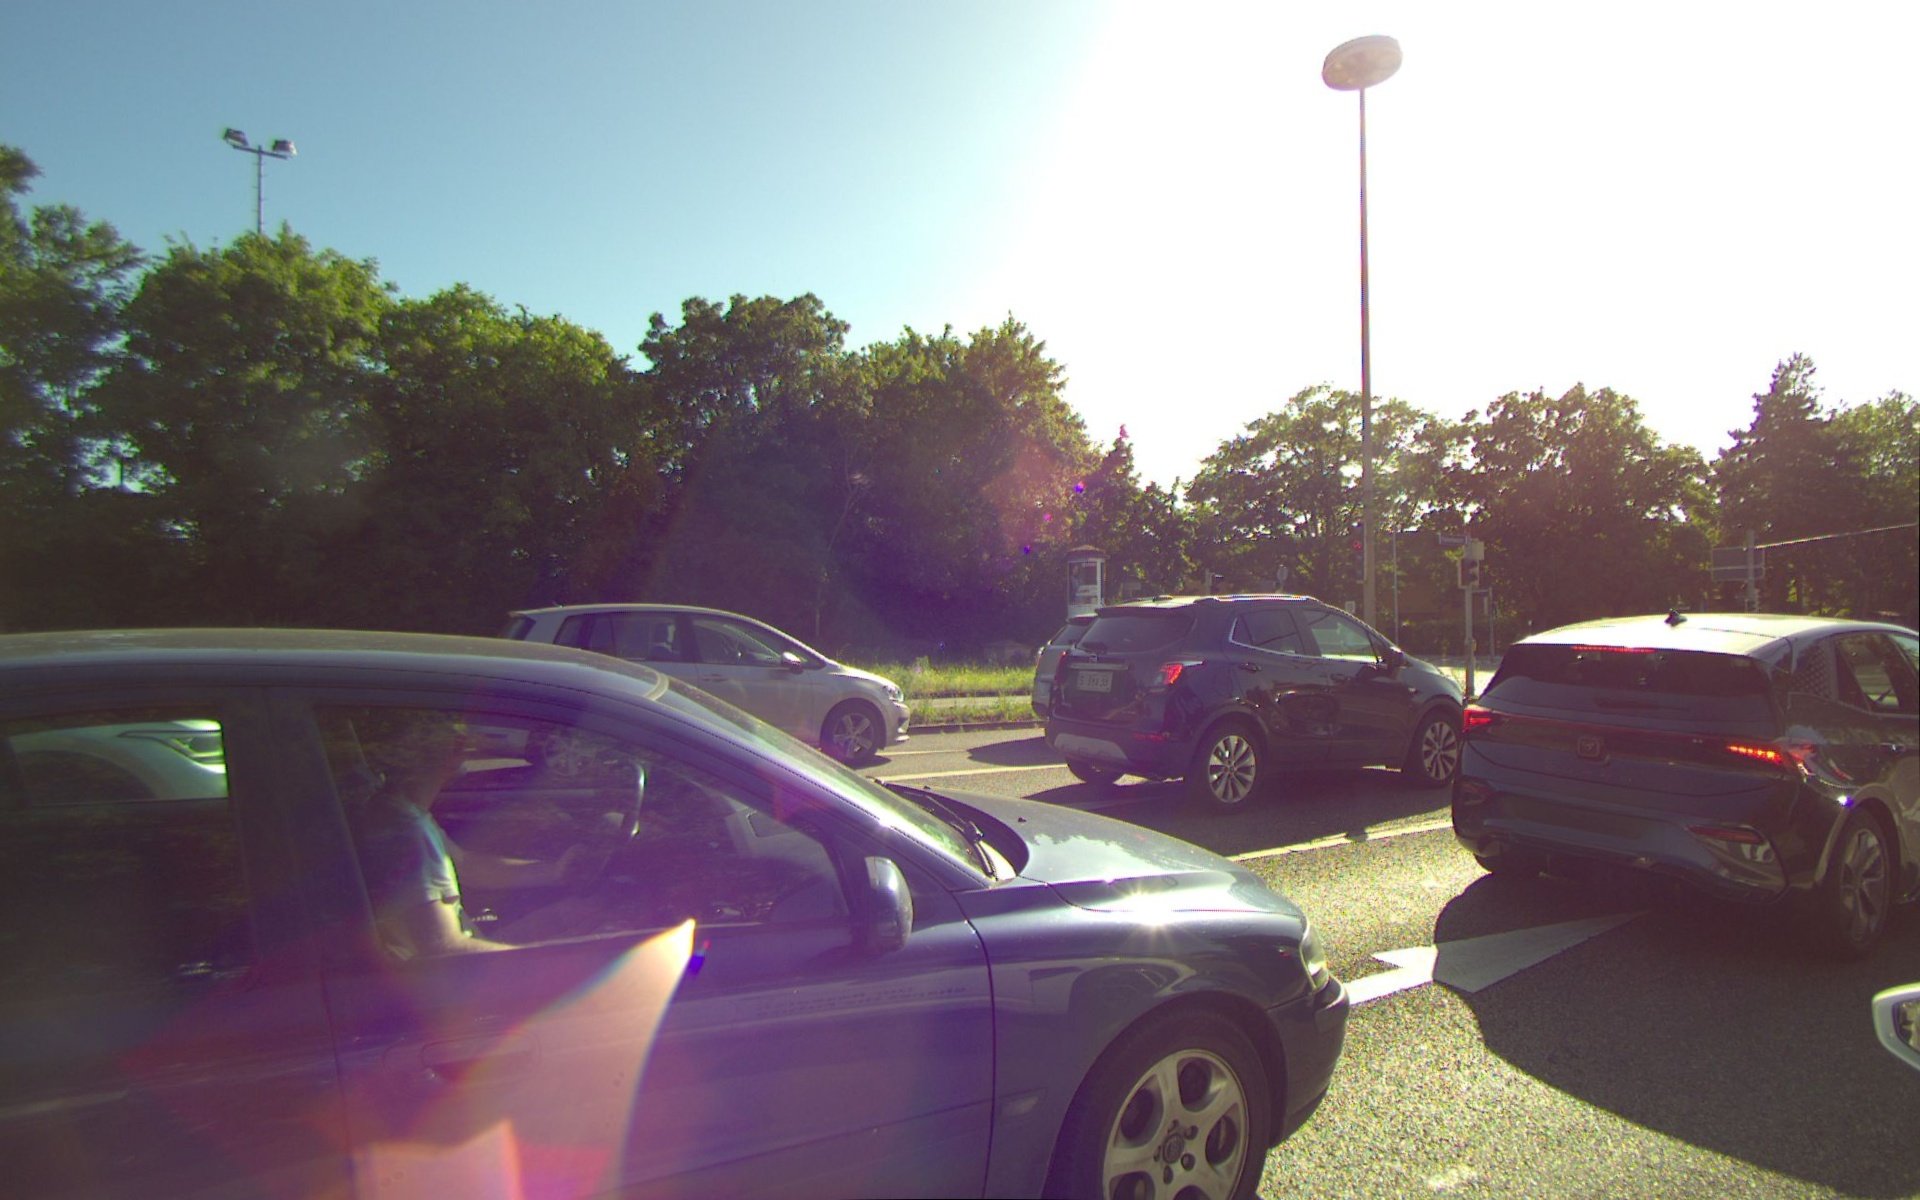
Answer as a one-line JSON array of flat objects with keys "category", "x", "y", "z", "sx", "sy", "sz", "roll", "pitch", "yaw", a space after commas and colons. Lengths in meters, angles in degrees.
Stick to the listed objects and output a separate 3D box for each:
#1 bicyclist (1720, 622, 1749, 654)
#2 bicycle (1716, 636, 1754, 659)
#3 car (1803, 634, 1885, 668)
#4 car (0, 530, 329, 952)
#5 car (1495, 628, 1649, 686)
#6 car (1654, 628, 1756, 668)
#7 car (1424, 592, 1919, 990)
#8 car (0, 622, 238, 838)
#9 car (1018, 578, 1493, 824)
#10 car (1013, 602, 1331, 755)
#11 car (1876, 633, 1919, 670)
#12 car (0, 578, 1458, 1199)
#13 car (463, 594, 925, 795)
[{"category": "bicyclist", "x": 41.354, "y": 2.025, "z": 53.609, "sx": 1.187, "sy": 1.670, "sz": 0.870, "roll": 1, "pitch": -2, "yaw": -34}, {"category": "bicycle", "x": 41.417, "y": 2.522, "z": 53.646, "sx": 2.510, "sy": 1.228, "sz": 0.870, "roll": 1, "pitch": -2, "yaw": -34}, {"category": "car", "x": 40.723, "y": 2.330, "z": 46.264, "sx": 3.956, "sy": 1.529, "sz": 1.678, "roll": 1, "pitch": -2, "yaw": -30}, {"category": "car", "x": -5.420, "y": 0.588, "z": 4.412, "sx": 4.373, "sy": 1.732, "sz": 1.984, "roll": 1, "pitch": -2, "yaw": -30}, {"category": "car", "x": 17.480, "y": 1.571, "z": 28.660, "sx": 4.451, "sy": 1.544, "sz": 1.880, "roll": 1, "pitch": -2, "yaw": -30}, {"category": "car", "x": 28.487, "y": 1.811, "z": 38.408, "sx": 4.172, "sy": 1.475, "sz": 1.633, "roll": 1, "pitch": -2, "yaw": -30}, {"category": "car", "x": 4.758, "y": 0.823, "z": 5.830, "sx": 4.158, "sy": 1.601, "sz": 1.676, "roll": 2, "pitch": -1, "yaw": -30}, {"category": "car", "x": -7.896, "y": 0.883, "z": 6.962, "sx": 4.499, "sy": 1.448, "sz": 1.822, "roll": 1, "pitch": -2, "yaw": -30}, {"category": "car", "x": 2.638, "y": 0.765, "z": 8.809, "sx": 3.953, "sy": 1.711, "sz": 1.796, "roll": 1, "pitch": -2, "yaw": -30}, {"category": "car", "x": 2.828, "y": 0.948, "z": 13.196, "sx": 3.956, "sy": 1.724, "sz": 1.820, "roll": 1, "pitch": -2, "yaw": -32}, {"category": "car", "x": 39.552, "y": 2.093, "z": 41.159, "sx": 4.561, "sy": 1.452, "sz": 1.678, "roll": 1, "pitch": -2, "yaw": -30}, {"category": "car", "x": -1.079, "y": 0.720, "z": 2.215, "sx": 4.404, "sy": 1.471, "sz": 1.767, "roll": 2, "pitch": 0, "yaw": -30}, {"category": "car", "x": -2.596, "y": 0.830, "z": 10.020, "sx": 4.156, "sy": 1.632, "sz": 1.822, "roll": 1, "pitch": -2, "yaw": -30}]
